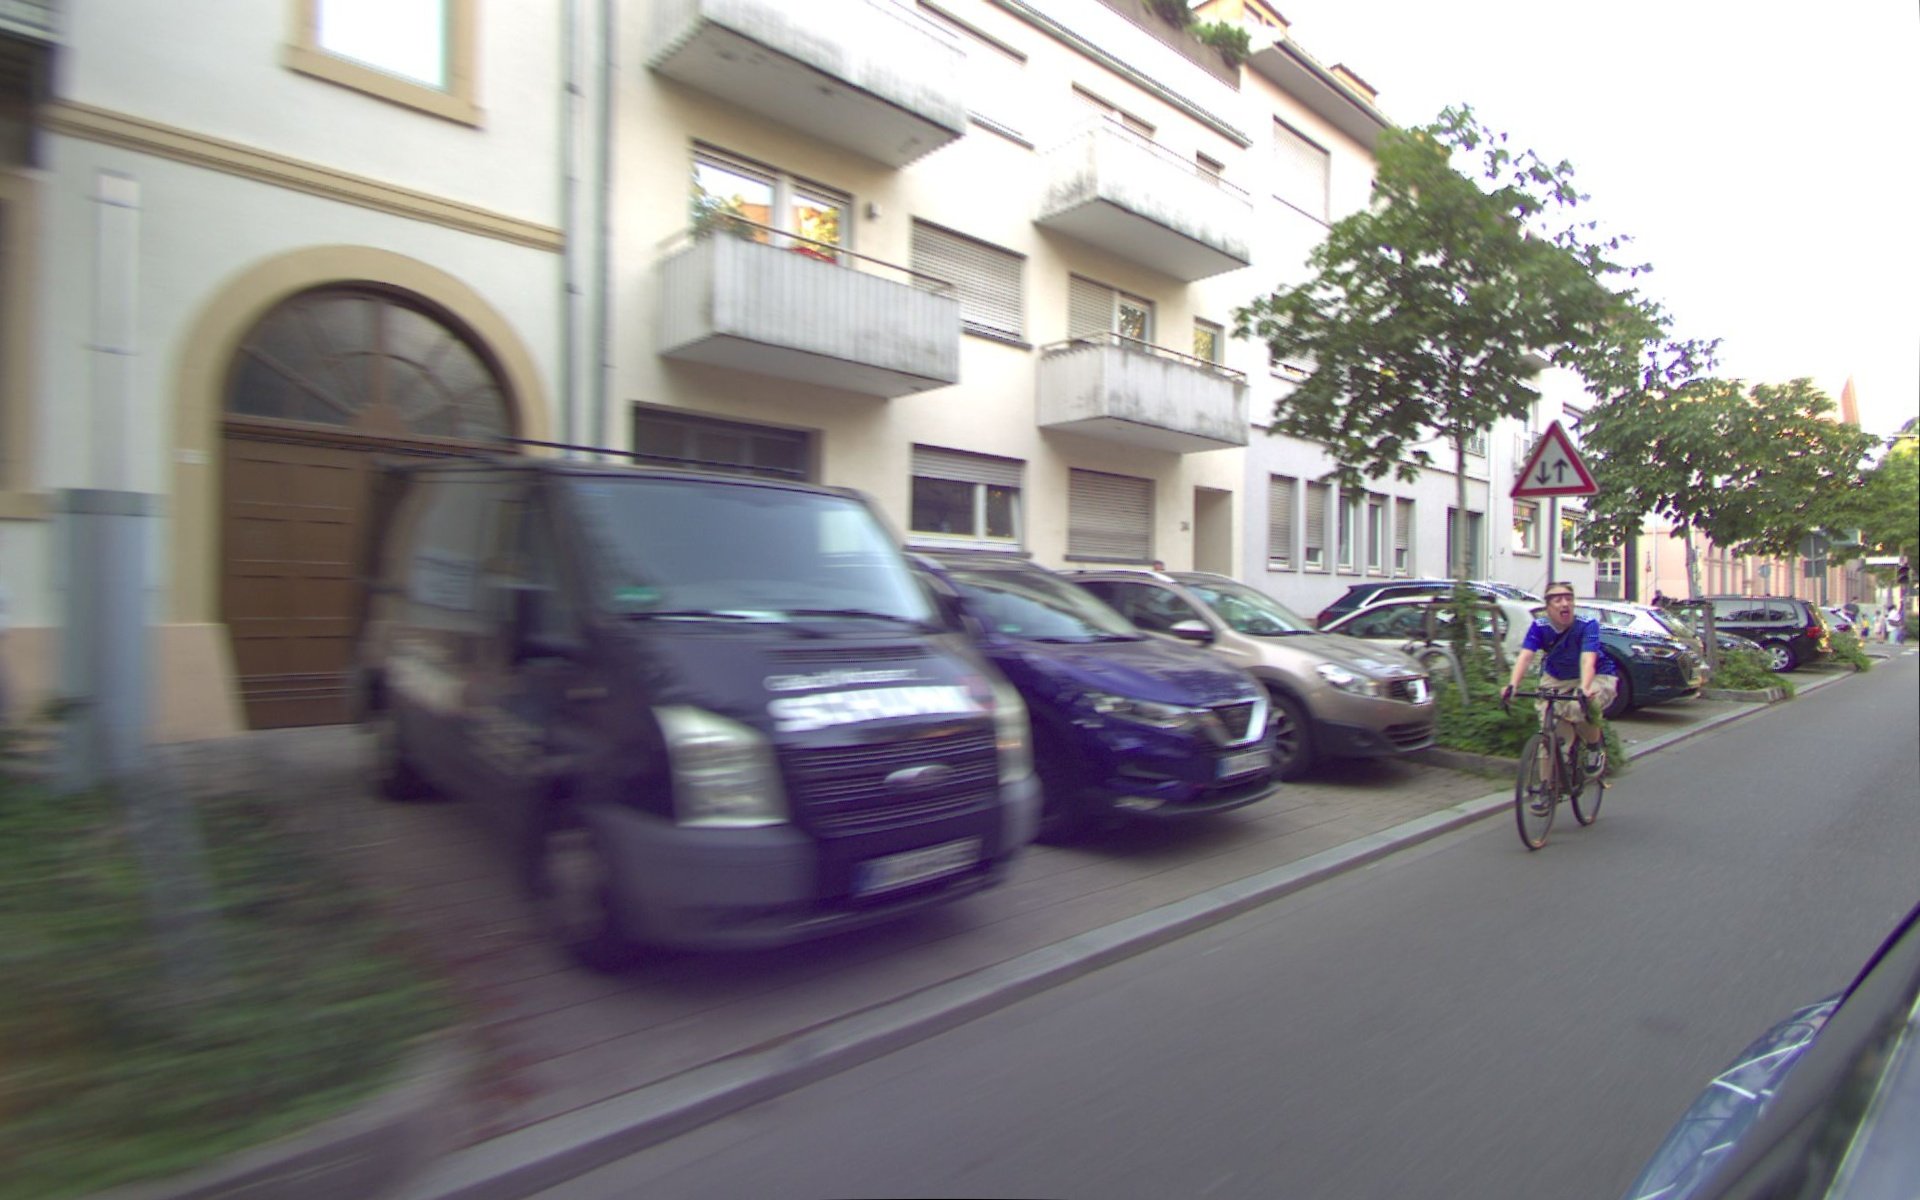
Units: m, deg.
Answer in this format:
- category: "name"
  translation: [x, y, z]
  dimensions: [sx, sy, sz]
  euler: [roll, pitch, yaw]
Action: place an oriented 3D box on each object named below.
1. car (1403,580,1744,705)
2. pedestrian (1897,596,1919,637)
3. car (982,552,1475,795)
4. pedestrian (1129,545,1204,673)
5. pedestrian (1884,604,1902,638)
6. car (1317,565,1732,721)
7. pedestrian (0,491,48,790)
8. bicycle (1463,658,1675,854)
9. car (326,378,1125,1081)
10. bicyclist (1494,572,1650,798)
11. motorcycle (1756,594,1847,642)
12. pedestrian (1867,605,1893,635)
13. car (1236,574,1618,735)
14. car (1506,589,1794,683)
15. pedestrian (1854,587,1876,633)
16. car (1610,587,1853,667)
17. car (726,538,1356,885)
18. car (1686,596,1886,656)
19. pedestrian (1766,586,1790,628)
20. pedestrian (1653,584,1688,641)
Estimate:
- category: "car"
  translation: [9.298, 0.533, 15.619]
  dimensions: [1.786, 1.446, 4.085]
  euler: [0, 4, -40]
- category: "pedestrian"
  translation: [36.229, 0.626, 38.449]
  dimensions: [0.592, 1.530, 0.716]
  euler: [2, 1, 19]
- category: "car"
  translation: [2.258, 0.453, 9.298]
  dimensions: [1.820, 1.597, 3.971]
  euler: [0, 4, -43]
- category: "pedestrian"
  translation: [3.060, 0.122, 14.993]
  dimensions: [0.865, 1.818, 0.698]
  euler: [1, 0, -42]
- category: "pedestrian"
  translation: [36.403, 0.809, 39.473]
  dimensions: [0.450, 1.277, 0.483]
  euler: [3, 2, 42]
- category: "car"
  translation: [7.599, 0.442, 14.010]
  dimensions: [1.911, 1.597, 4.597]
  euler: [0, 4, -43]
- category: "pedestrian"
  translation: [-5.549, 0.219, 5.601]
  dimensions: [0.724, 1.619, 0.669]
  euler: [1, -1, -43]
- category: "bicycle"
  translation: [4.085, 0.947, 6.722]
  dimensions: [1.943, 1.043, 0.673]
  euler: [1, -2, -43]
- category: "car"
  translation: [-1.661, 0.218, 5.326]
  dimensions: [2.003, 2.035, 4.697]
  euler: [0, 4, -43]
- category: "bicyclist"
  translation: [4.052, 0.527, 6.700]
  dimensions: [0.763, 1.381, 0.673]
  euler: [1, -2, -42]
- category: "motorcycle"
  translation: [25.962, 0.528, 31.245]
  dimensions: [0.979, 1.410, 1.916]
  euler: [0, 1, -29]
- category: "pedestrian"
  translation: [36.432, 0.794, 40.076]
  dimensions: [0.534, 1.159, 0.494]
  euler: [2, 1, -5]
- category: "car"
  translation: [5.495, 0.518, 12.247]
  dimensions: [1.669, 1.440, 3.799]
  euler: [0, 4, -43]
- category: "car"
  translation: [13.251, 0.597, 19.634]
  dimensions: [1.764, 1.514, 4.320]
  euler: [0, 2, -43]
- category: "pedestrian"
  translation: [35.979, 0.386, 40.235]
  dimensions: [0.566, 1.796, 0.544]
  euler: [1, 2, -41]
- category: "car"
  translation: [17.454, 0.544, 23.033]
  dimensions: [1.927, 1.638, 4.116]
  euler: [0, 0, -41]
- category: "car"
  translation: [0.300, 0.453, 7.136]
  dimensions: [1.937, 1.597, 4.162]
  euler: [0, 4, -43]
- category: "car"
  translation: [22.278, 0.656, 27.407]
  dimensions: [1.763, 1.456, 3.993]
  euler: [0, 0, -41]
- category: "pedestrian"
  translation: [36.951, 0.321, 45.719]
  dimensions: [1.032, 1.878, 0.698]
  euler: [1, 1, -44]
- category: "pedestrian"
  translation: [23.289, 0.391, 33.185]
  dimensions: [1.047, 1.818, 0.698]
  euler: [1, 0, -42]
